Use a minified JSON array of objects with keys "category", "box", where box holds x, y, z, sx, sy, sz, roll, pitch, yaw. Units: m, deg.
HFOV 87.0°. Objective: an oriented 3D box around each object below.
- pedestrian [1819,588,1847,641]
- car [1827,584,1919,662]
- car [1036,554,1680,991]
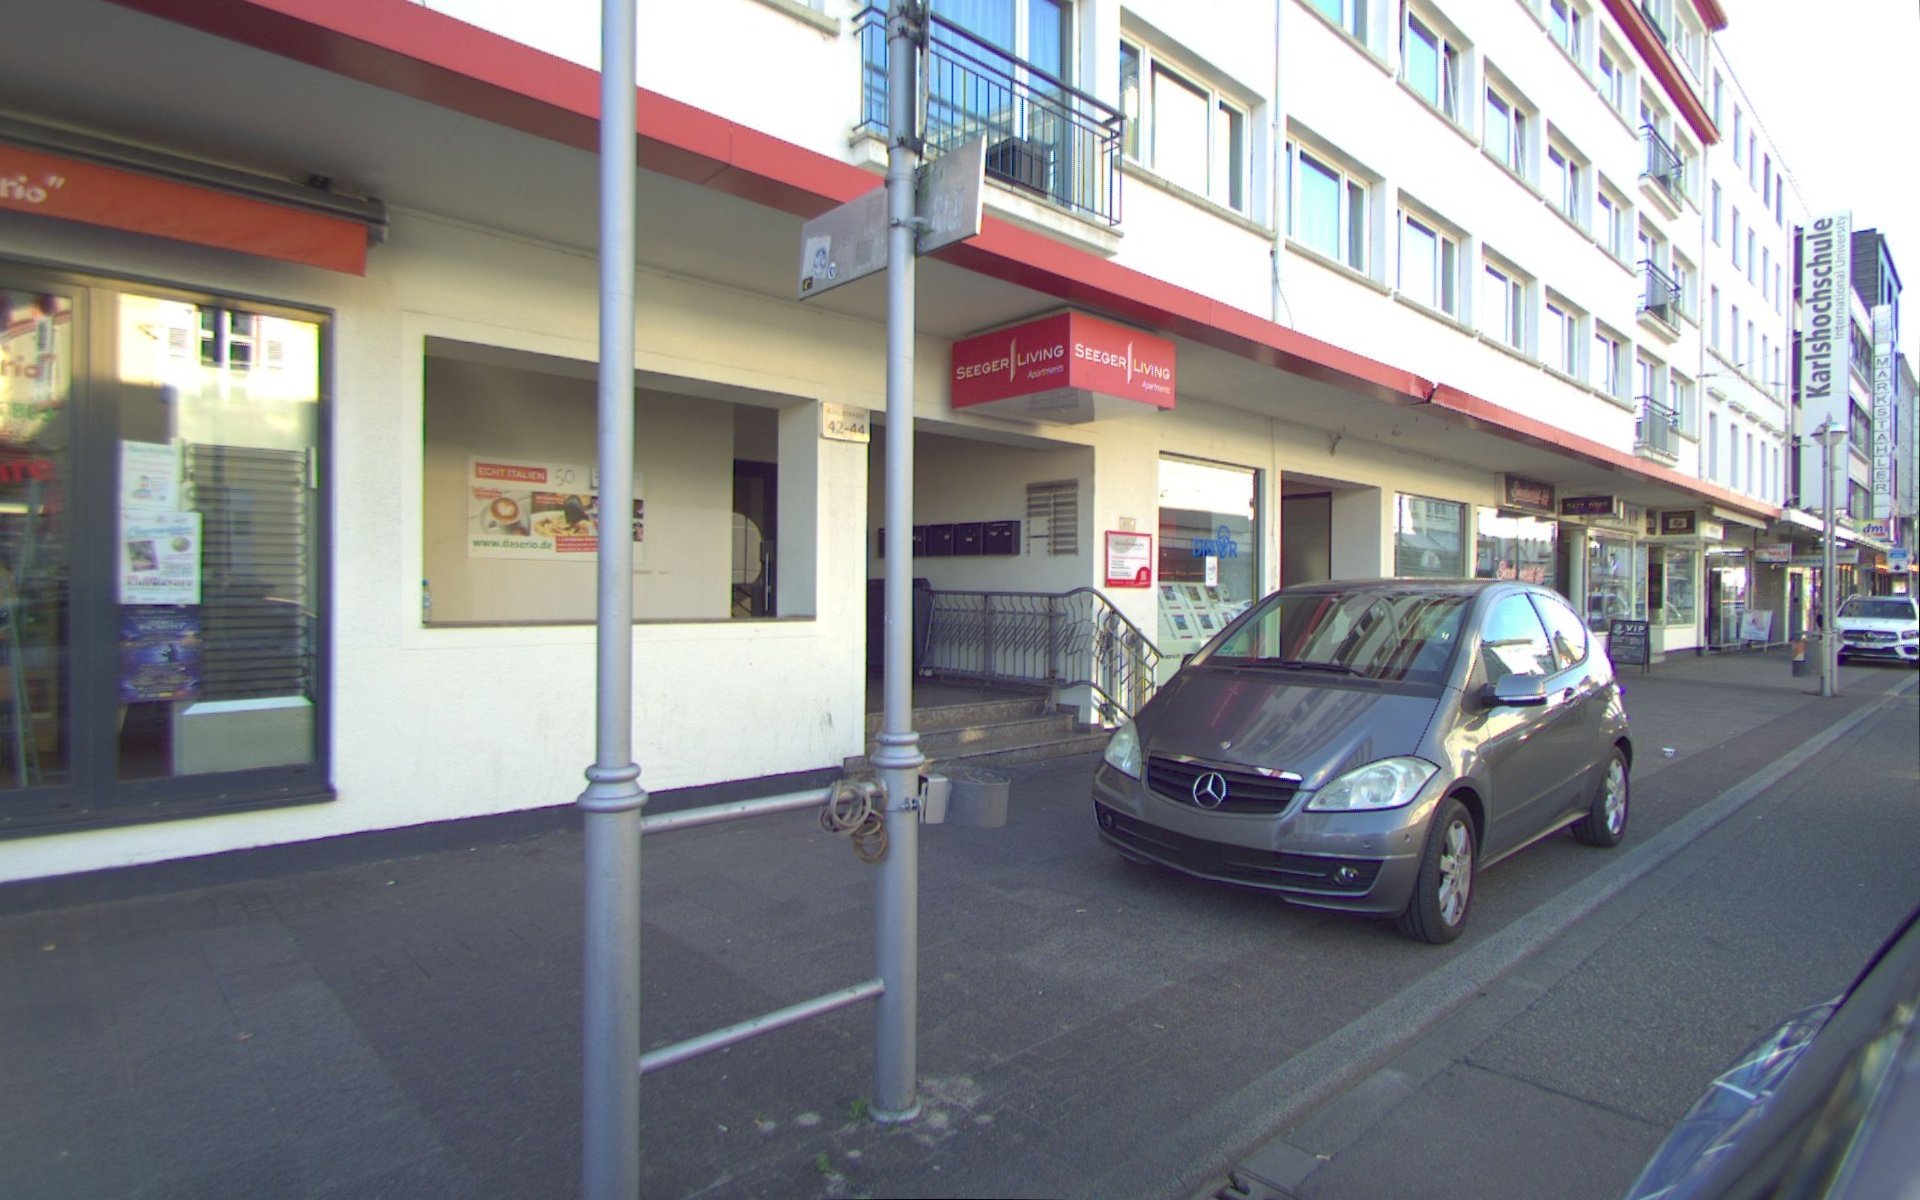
[{"category":"pedestrian","box":[30.903,0.506,35.824,0.794,1.840,0.704,0,0,-44]},{"category":"car","box":[22.174,0.473,24.097,4.092,1.684,1.781,-1,2,-42]},{"category":"car","box":[2.415,0.576,5.644,3.893,1.588,1.780,-1,2,-42]}]
